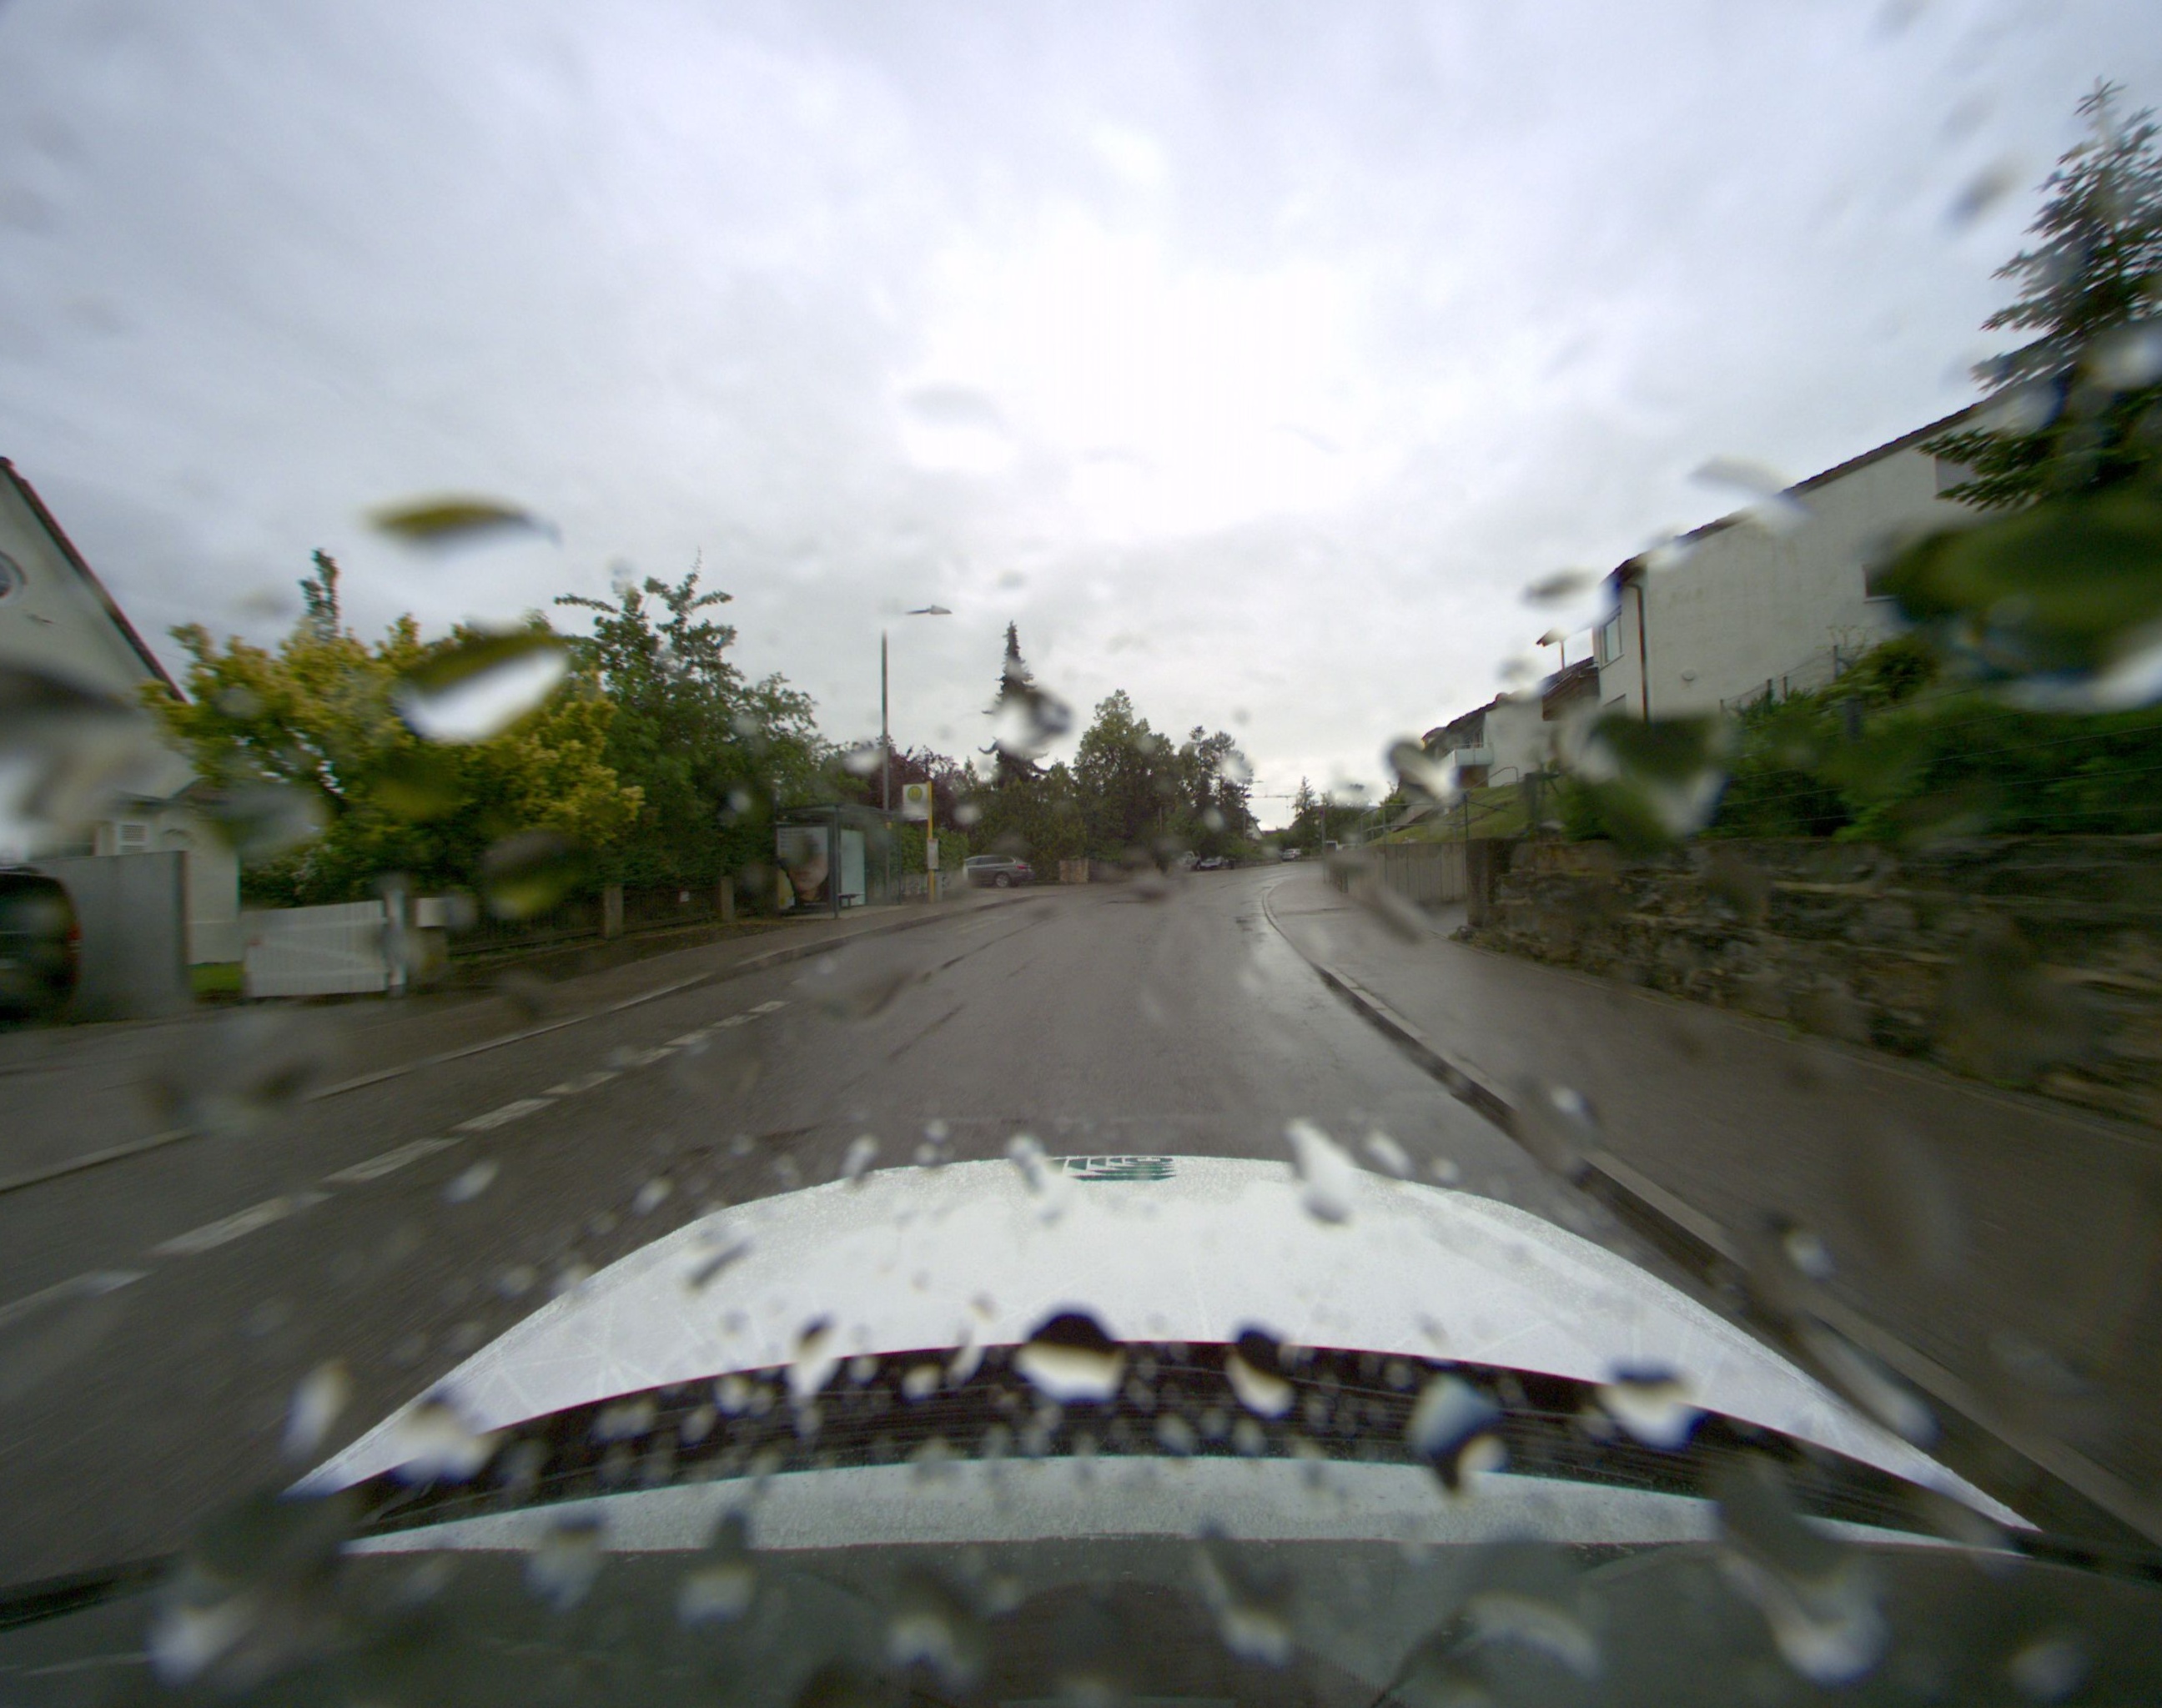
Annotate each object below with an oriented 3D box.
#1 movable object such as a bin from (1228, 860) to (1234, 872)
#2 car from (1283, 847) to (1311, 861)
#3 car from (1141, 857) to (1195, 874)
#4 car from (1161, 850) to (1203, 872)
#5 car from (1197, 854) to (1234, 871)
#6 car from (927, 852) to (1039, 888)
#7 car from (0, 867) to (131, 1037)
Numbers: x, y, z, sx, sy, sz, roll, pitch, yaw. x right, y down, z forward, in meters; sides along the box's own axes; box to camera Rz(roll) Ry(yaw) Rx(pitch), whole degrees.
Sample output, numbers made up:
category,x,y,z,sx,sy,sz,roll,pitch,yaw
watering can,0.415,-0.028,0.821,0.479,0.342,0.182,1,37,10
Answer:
category,x,y,z,sx,sy,sz,roll,pitch,yaw
movable object such as a bin,13.377,1.071,72.541,0.367,0.988,0.561,-3,-1,24
car,26.341,0.016,99.271,1.718,1.551,4.025,-3,-1,39
car,7.065,0.947,66.121,3.948,1.271,1.885,-2,0,31
car,9.314,0.631,74.327,1.975,1.844,5.511,-2,0,27
car,12.232,0.751,73.931,1.975,1.307,4.460,-3,-1,28
car,-4.292,0.706,35.962,4.514,1.476,1.843,-1,0,8
car,-13.359,1.083,9.047,3.959,1.784,2.007,-1,0,13
